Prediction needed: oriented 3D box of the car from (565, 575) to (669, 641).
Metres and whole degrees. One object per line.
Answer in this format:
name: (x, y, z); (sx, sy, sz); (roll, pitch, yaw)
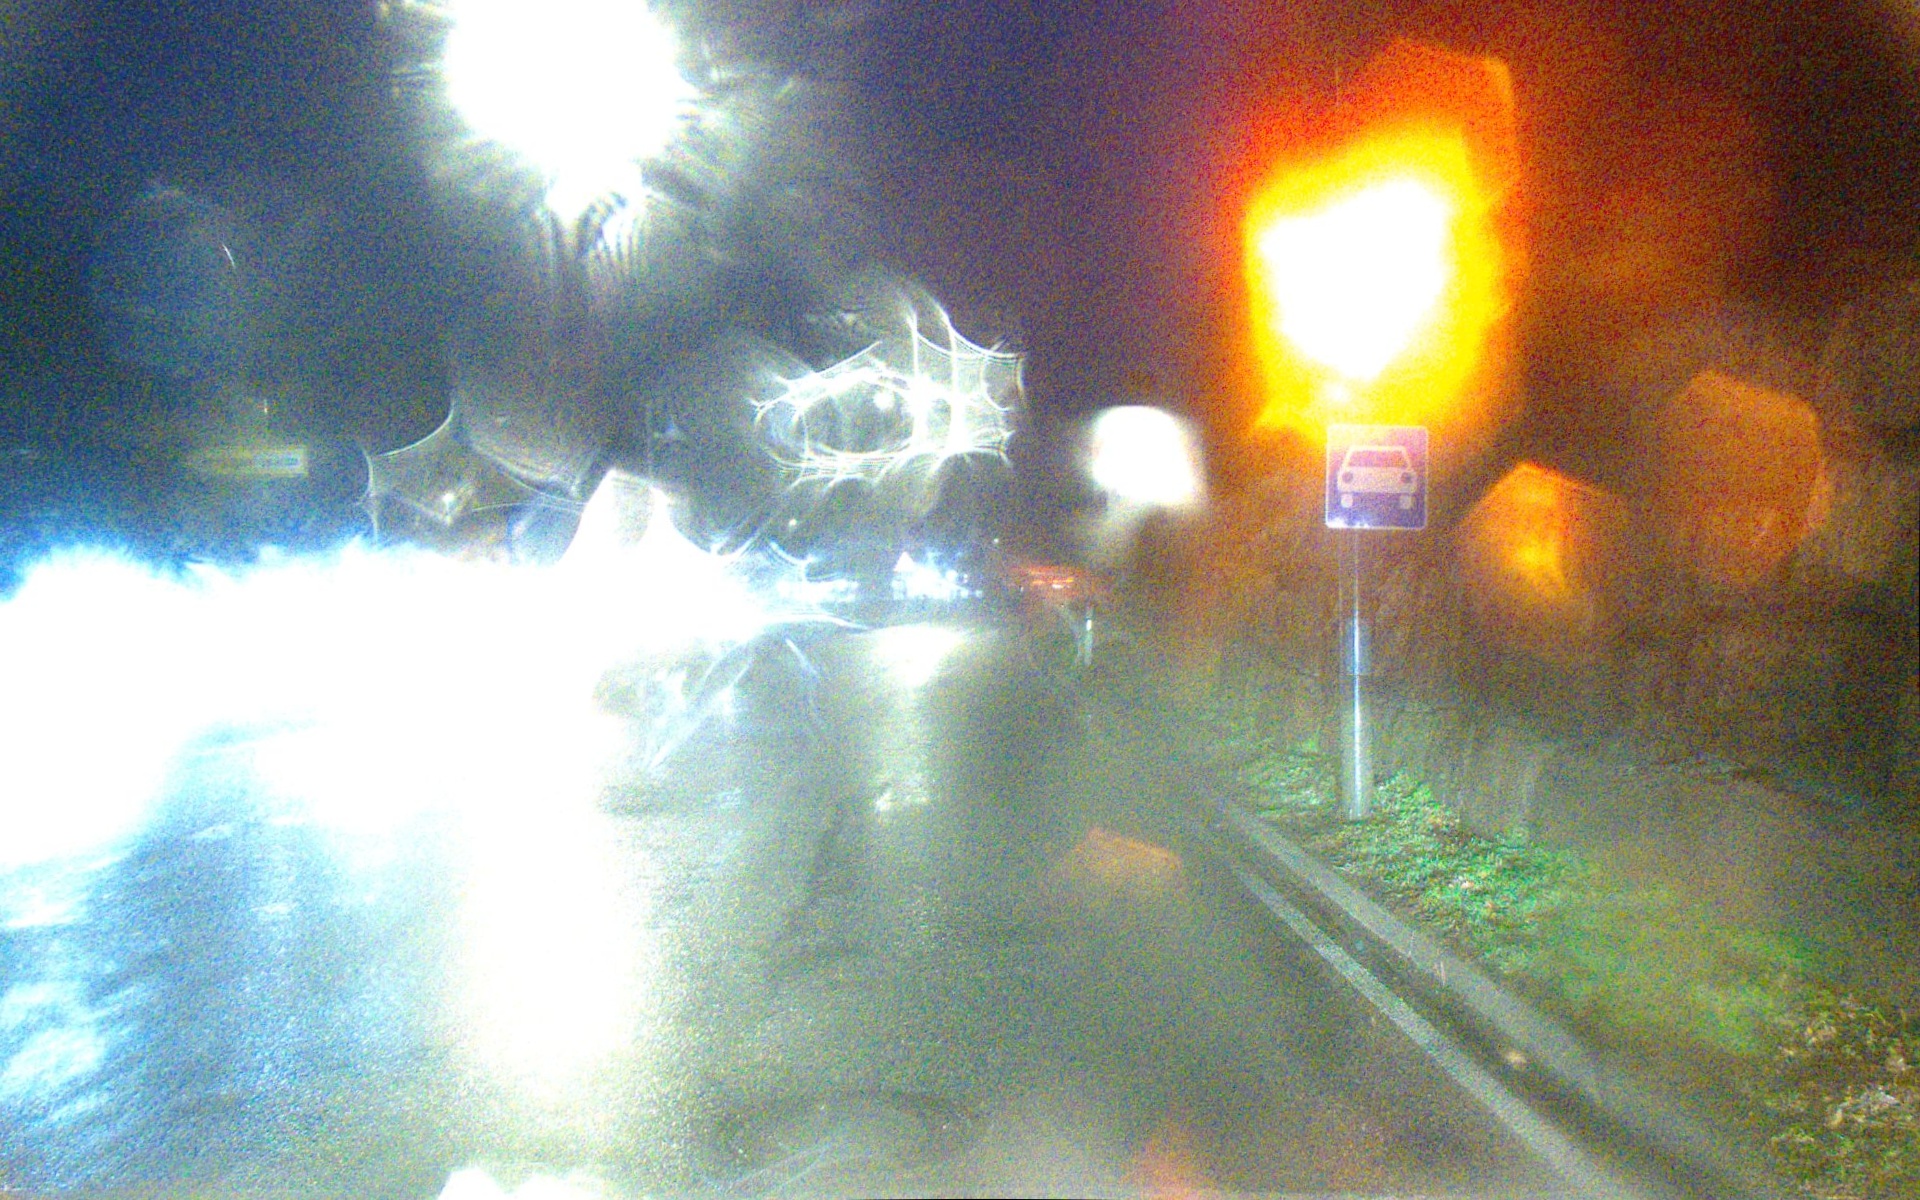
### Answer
car: (-9.429, 0.234, 45.769); (1.681, 1.733, 4.145); (0, -1, 5)

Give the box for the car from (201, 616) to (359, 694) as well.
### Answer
car: (-13.675, 1.075, 33.465); (1.634, 1.479, 3.727); (0, -1, 0)

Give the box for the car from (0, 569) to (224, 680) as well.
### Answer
car: (-13.624, 0.347, 26.222); (1.755, 1.599, 4.913); (0, 0, -1)

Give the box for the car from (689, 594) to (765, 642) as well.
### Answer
car: (-8.020, 0.630, 57.330); (1.672, 1.561, 4.602); (0, -1, 4)

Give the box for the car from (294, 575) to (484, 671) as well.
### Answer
car: (-10.233, 0.385, 30.018); (1.663, 1.599, 4.713); (0, 0, 2)

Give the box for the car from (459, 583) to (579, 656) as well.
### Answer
car: (-9.839, 0.450, 37.153); (1.552, 1.552, 3.653); (0, -1, 3)
